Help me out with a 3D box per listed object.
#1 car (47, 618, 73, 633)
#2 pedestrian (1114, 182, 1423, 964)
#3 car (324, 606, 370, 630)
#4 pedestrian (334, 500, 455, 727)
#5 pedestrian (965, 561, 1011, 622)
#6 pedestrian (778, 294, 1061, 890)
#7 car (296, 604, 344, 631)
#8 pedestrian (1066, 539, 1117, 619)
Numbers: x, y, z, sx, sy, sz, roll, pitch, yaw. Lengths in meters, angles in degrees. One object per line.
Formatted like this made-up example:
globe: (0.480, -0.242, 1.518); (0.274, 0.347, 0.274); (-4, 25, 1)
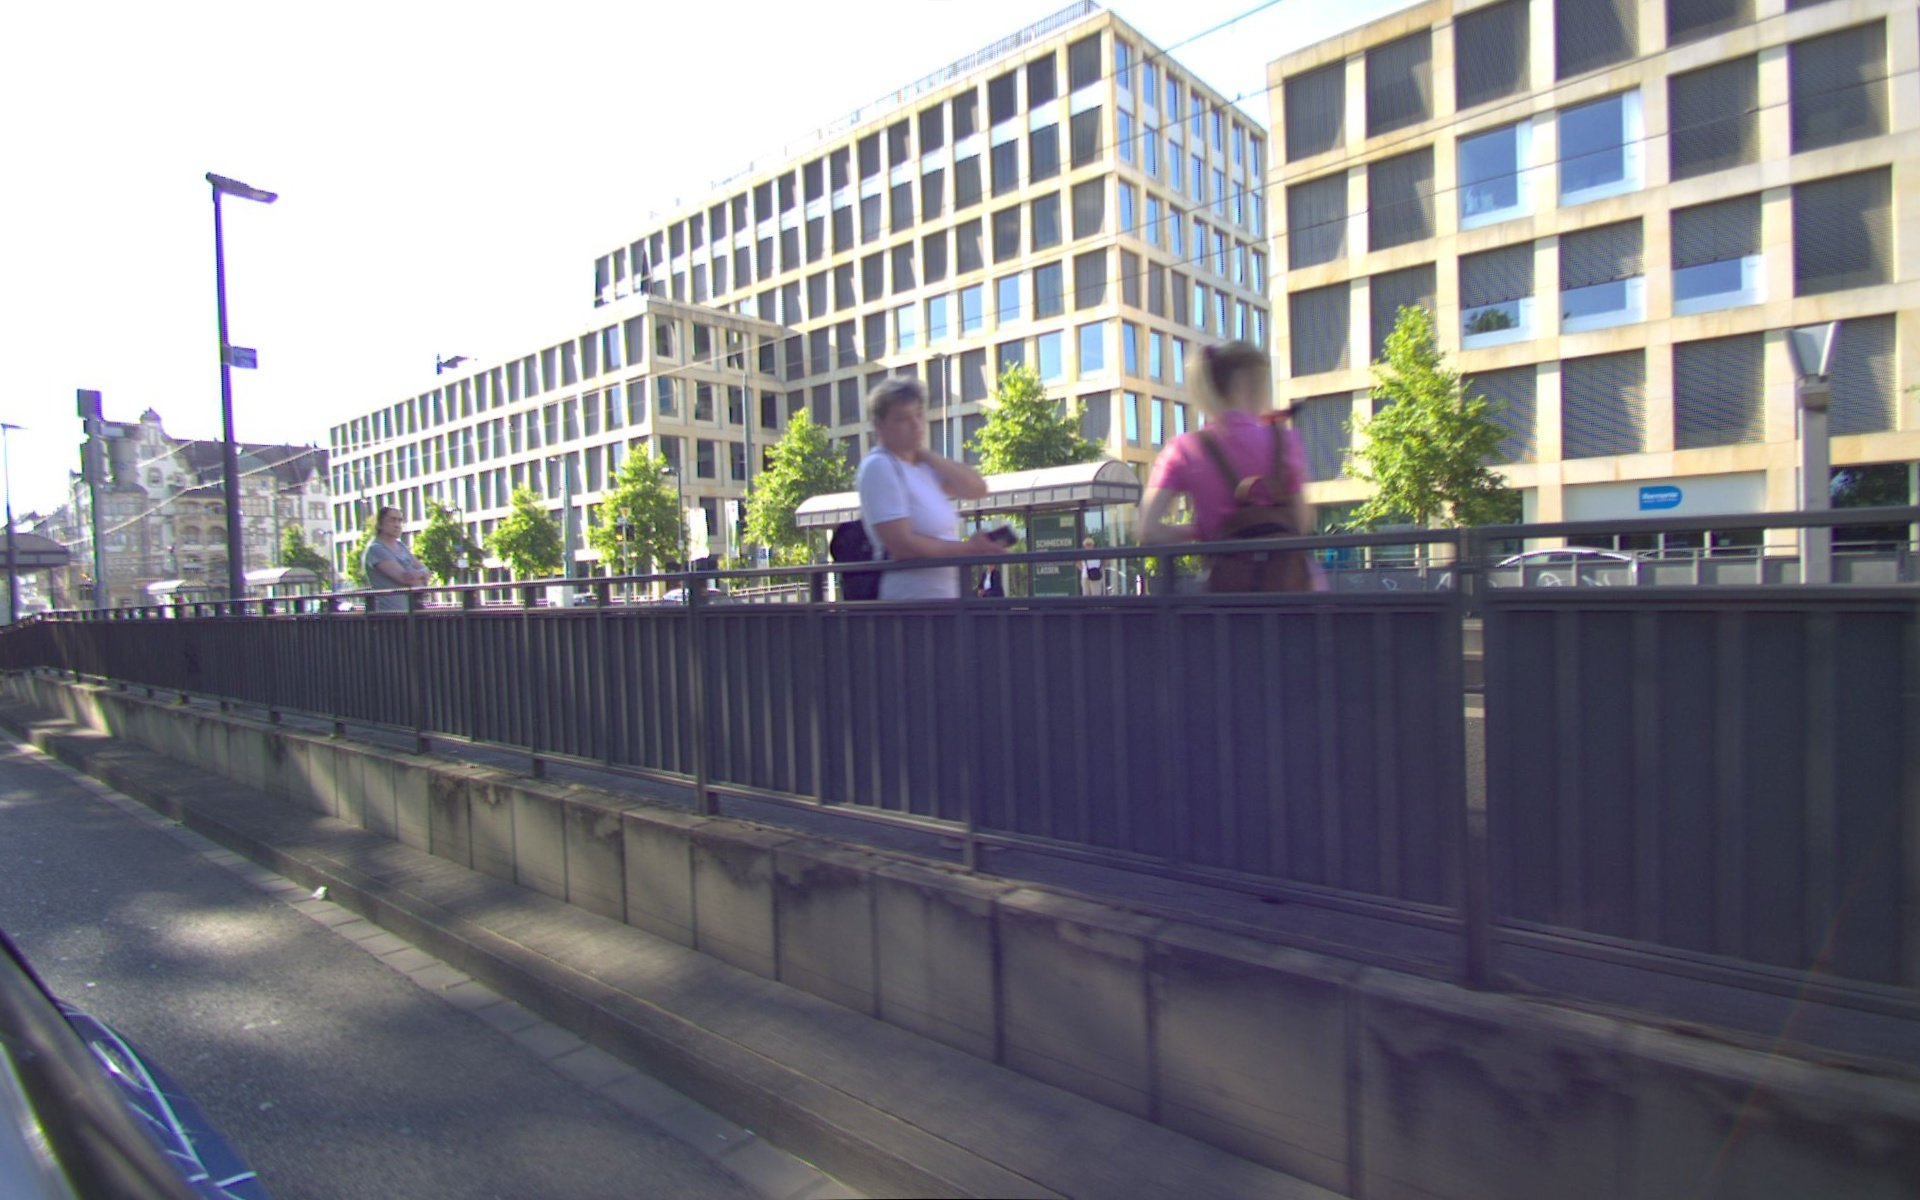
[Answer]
car: (-111.621, 3.200, 125.483); (3.996, 1.682, 1.759); (-2, 1, 39)
pedestrian: (0.781, -0.053, 2.539); (0.609, 1.654, 0.609); (-2, 1, 22)
car: (-41.983, 1.239, 69.303); (3.649, 1.573, 1.627); (-2, 1, 42)
pedestrian: (-4.160, 0.086, 7.435); (0.606, 1.560, 0.726); (-3, 1, -39)
pedestrian: (0.588, -0.179, 21.397); (0.725, 1.269, 0.607); (-1, 1, 45)
pedestrian: (-0.129, -0.026, 3.287); (0.613, 1.681, 0.605); (-1, 1, 43)
car: (-46.388, 1.269, 73.341); (3.999, 1.782, 1.898); (-2, 1, 42)
pedestrian: (2.564, -0.409, 19.790); (0.607, 1.539, 0.725); (-3, 1, -41)
